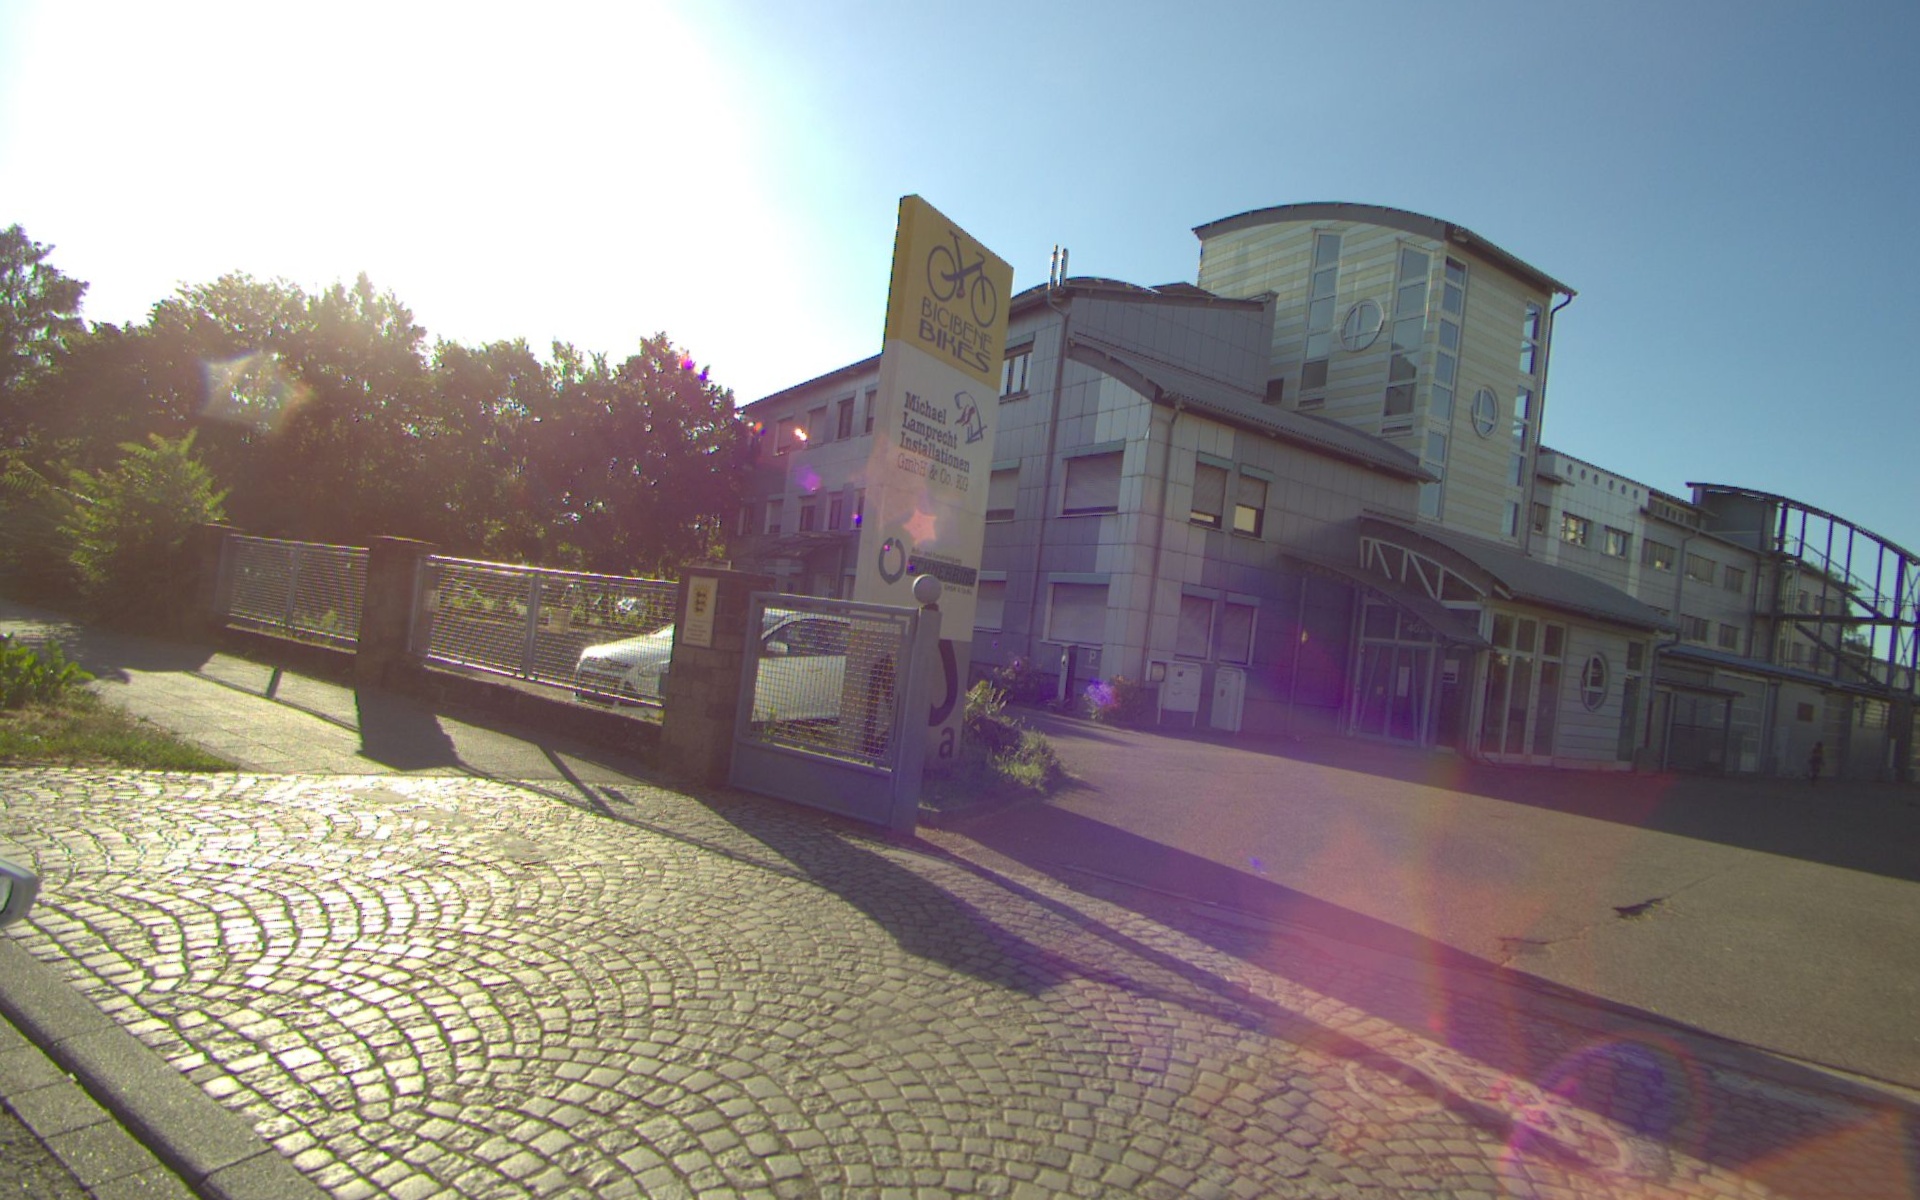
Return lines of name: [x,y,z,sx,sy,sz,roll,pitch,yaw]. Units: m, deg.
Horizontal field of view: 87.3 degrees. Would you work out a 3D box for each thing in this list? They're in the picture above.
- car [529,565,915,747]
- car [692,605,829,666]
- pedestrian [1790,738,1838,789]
car: [-2.481,0.720,11.444,1.812,1.577,3.994,6,-3,33]
car: [-6.629,1.201,33.571,3.964,1.592,1.892,7,-2,-36]
pedestrian: [33.536,6.404,39.535,0.863,1.774,1.008,7,-2,-8]
